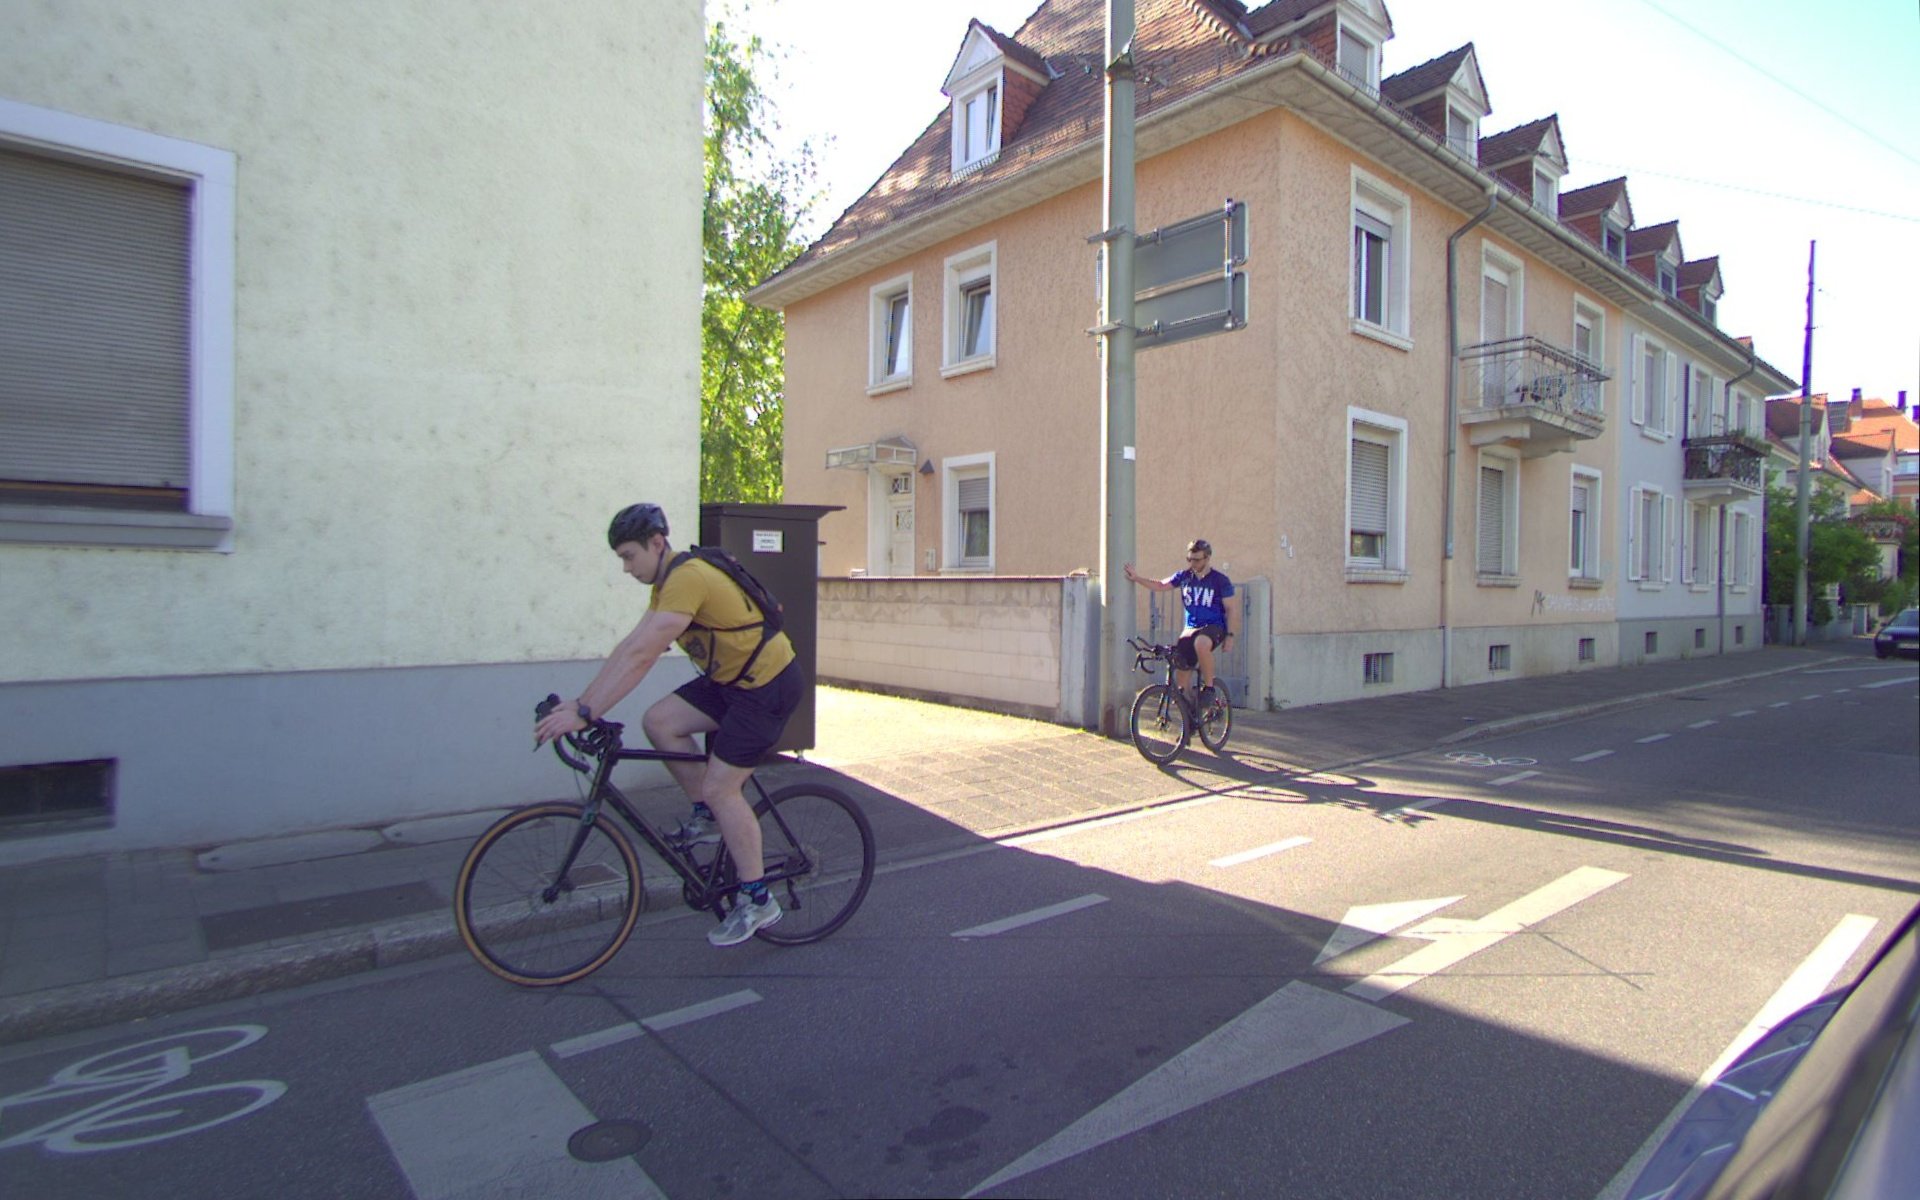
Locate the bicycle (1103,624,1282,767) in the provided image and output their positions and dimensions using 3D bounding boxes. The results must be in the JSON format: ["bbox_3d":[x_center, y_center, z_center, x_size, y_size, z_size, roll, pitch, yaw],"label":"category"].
[{"bbox_3d":[2.092,0.797,8.999,1.689,1.064,0.595,0,6,-41],"label":"bicycle"}]

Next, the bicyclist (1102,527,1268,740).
[{"bbox_3d":[2.037,0.255,9.249,0.838,1.758,1.072,0,6,-40],"label":"bicyclist"}]

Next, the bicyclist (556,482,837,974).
[{"bbox_3d":[-1.060,0.447,4.114,0.939,1.743,0.582,0,1,-41],"label":"bicyclist"}]

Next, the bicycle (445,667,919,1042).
[{"bbox_3d":[-1.054,0.889,4.134,1.778,1.101,0.611,0,1,-41],"label":"bicycle"}]

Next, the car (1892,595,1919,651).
[{"bbox_3d":[26.644,0.615,27.322,3.932,1.438,1.845,0,1,-42],"label":"car"}]
